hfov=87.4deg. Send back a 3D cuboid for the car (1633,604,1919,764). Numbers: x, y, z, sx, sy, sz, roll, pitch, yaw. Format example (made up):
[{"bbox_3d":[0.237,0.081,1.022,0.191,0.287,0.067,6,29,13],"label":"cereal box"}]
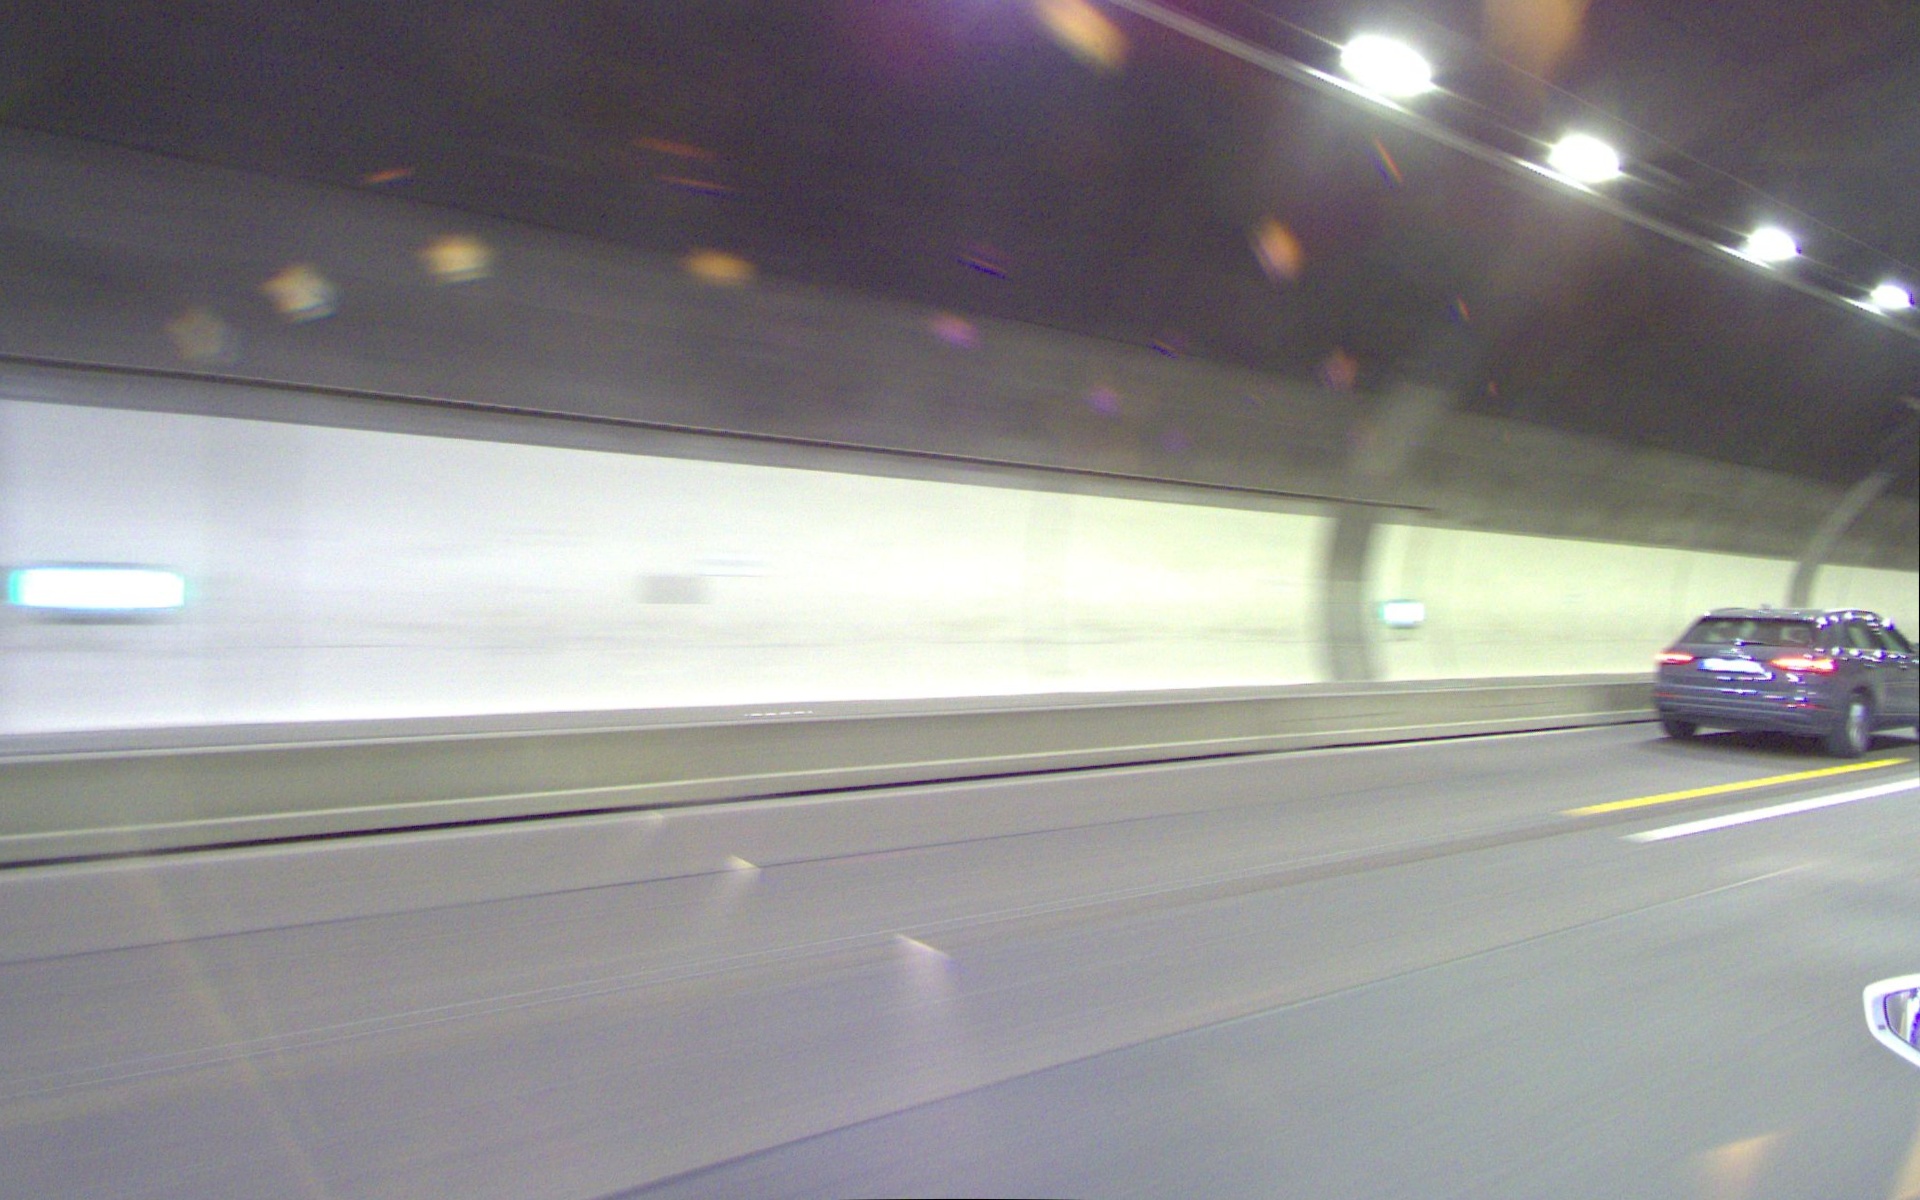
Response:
[{"bbox_3d":[10.316,0.884,11.972,4.687,1.561,1.984,2,0,-30],"label":"car"}]
